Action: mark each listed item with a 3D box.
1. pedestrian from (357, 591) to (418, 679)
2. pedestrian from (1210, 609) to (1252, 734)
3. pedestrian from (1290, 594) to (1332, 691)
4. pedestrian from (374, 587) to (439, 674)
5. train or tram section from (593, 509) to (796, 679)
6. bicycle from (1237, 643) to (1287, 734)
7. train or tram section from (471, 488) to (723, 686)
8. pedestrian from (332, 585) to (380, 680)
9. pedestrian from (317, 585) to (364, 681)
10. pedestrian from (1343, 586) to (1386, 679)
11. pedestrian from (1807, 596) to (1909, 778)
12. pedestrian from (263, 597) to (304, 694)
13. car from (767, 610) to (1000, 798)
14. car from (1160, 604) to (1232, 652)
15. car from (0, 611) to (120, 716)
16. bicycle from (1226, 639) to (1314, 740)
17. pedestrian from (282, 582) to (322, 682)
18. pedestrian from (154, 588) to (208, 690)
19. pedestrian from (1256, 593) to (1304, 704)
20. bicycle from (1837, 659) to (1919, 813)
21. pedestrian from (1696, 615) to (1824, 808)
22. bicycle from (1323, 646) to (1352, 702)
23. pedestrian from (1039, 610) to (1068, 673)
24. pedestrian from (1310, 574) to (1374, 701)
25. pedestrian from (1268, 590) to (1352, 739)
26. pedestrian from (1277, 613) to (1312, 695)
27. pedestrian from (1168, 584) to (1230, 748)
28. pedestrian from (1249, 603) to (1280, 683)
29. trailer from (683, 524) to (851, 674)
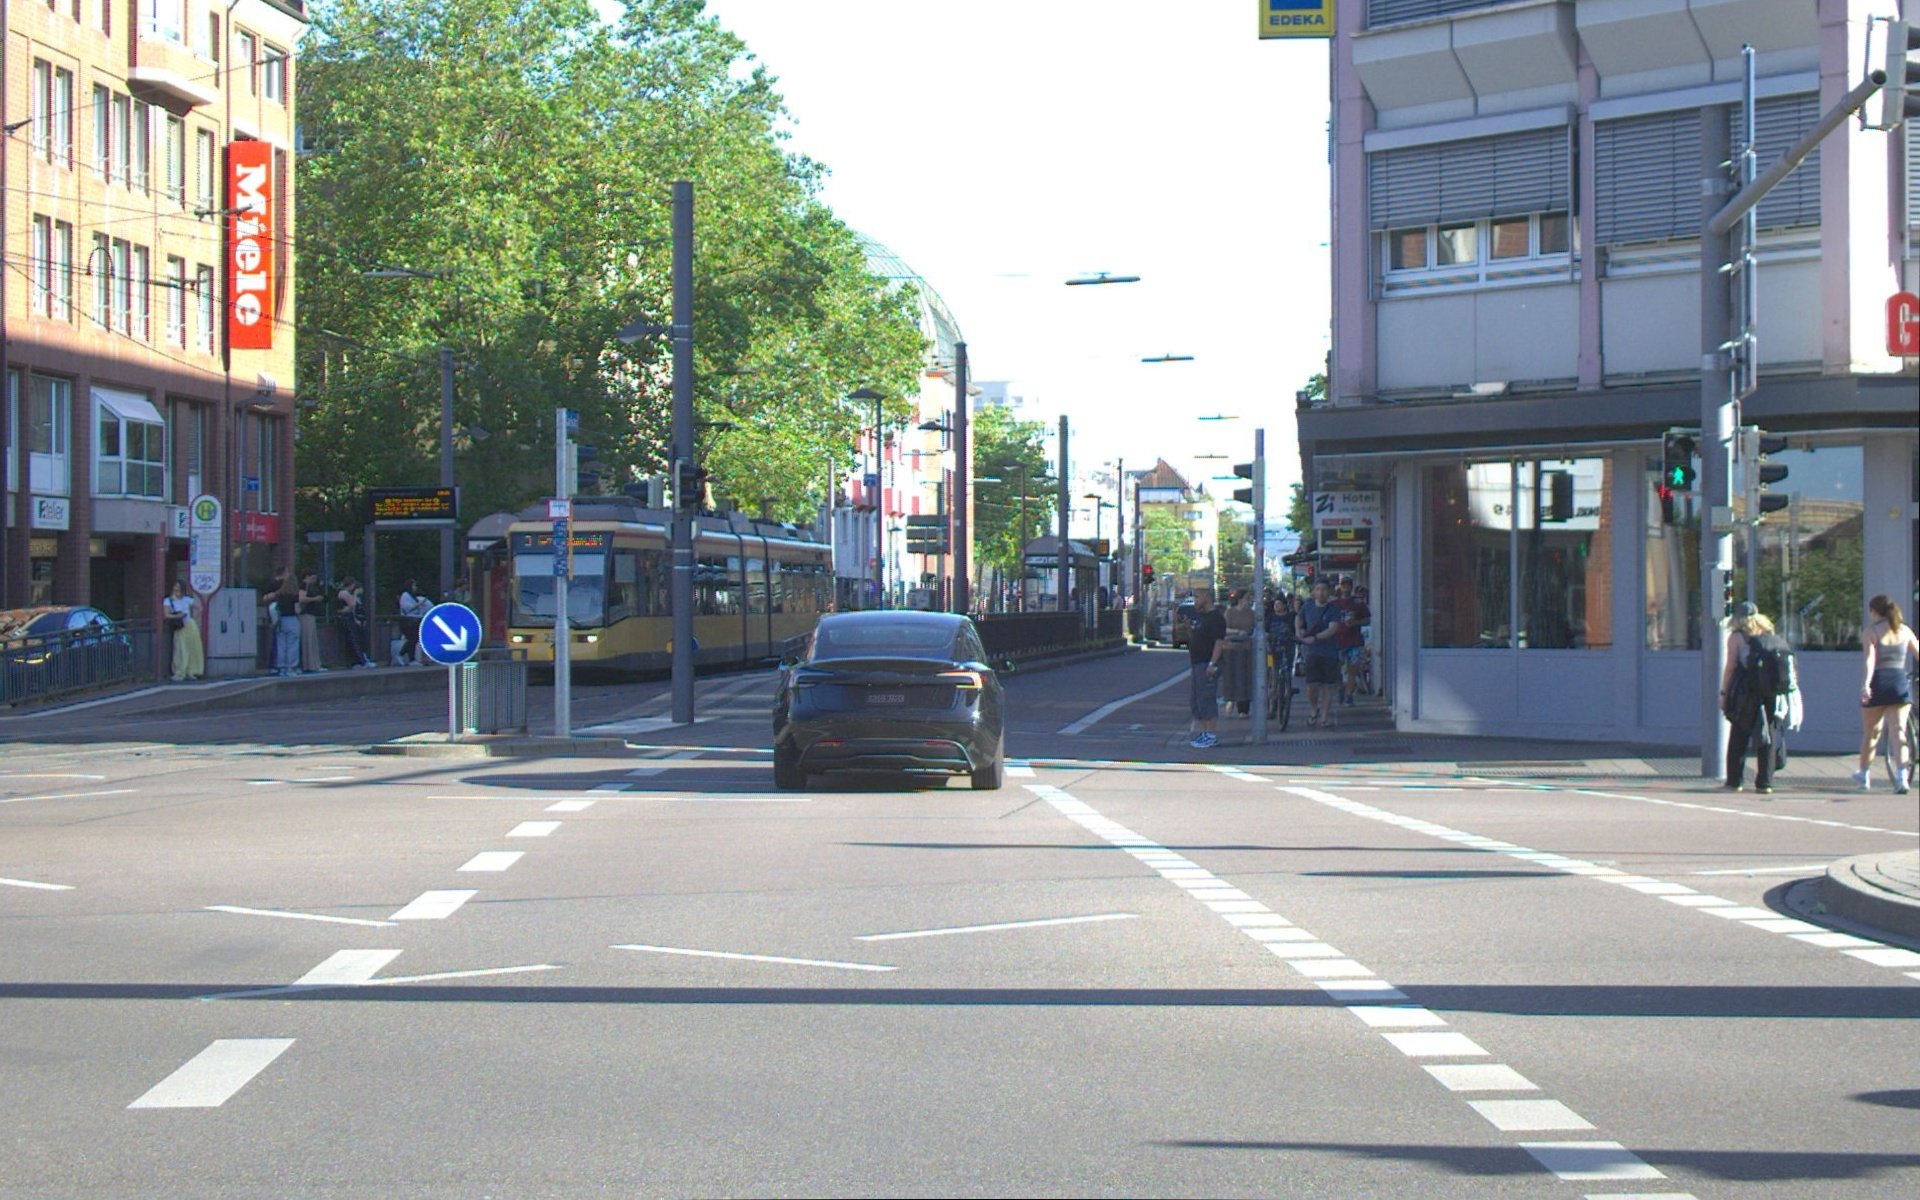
[{"bbox_3d":[-10.621,0.652,63.822,0.999,1.619,0.848,1,-1,-2],"label":"pedestrian"},{"bbox_3d":[3.420,0.893,43.304,0.471,1.557,0.545,1,-1,9],"label":"pedestrian"},{"bbox_3d":[6.114,0.735,59.844,0.697,1.672,0.749,1,-1,7],"label":"pedestrian"},{"bbox_3d":[-10.422,0.578,64.776,1.105,1.619,0.848,1,-1,-2],"label":"pedestrian"},{"bbox_3d":[-5.787,-0.078,76.823,2.714,3.534,10.166,1,-1,6],"label":"train or tram section"},{"bbox_3d":[3.774,1.083,42.871,0.488,1.098,2.124,1,-1,9],"label":"bicycle"},{"bbox_3d":[-6.876,-0.185,66.769,2.730,3.530,10.083,1,-1,6],"label":"train or tram section"},{"bbox_3d":[-10.971,0.596,62.434,0.636,1.715,0.608,0,-1,15],"label":"pedestrian"},{"bbox_3d":[-11.143,0.596,61.830,0.636,1.715,0.585,0,-1,15],"label":"pedestrian"},{"bbox_3d":[7.354,0.593,62.509,0.747,1.672,0.698,1,-1,7],"label":"pedestrian"},{"bbox_3d":[7.770,0.748,29.770,0.525,1.549,0.868,1,-1,-10],"label":"pedestrian"},{"bbox_3d":[-10.771,0.717,54.732,0.583,1.526,0.637,1,-1,-9],"label":"pedestrian"},{"bbox_3d":[-0.590,0.858,28.428,1.790,1.446,3.939,0,-2,0],"label":"car"},{"bbox_3d":[8.414,0.990,122.213,1.738,1.659,3.705,0,-1,17],"label":"car"},{"bbox_3d":[-14.340,0.971,52.534,1.817,1.539,3.791,-1,-1,4],"label":"car"},{"bbox_3d":[3.656,1.051,40.701,0.488,1.157,1.974,1,-1,-11],"label":"bicycle"},{"bbox_3d":[-11.381,0.547,59.464,0.635,1.715,0.585,1,-1,-9],"label":"pedestrian"},{"bbox_3d":[-11.967,0.600,52.834,0.635,1.558,0.585,1,-1,7],"label":"pedestrian"},{"bbox_3d":[4.894,0.736,52.556,0.697,1.672,0.749,1,-1,7],"label":"pedestrian"},{"bbox_3d":[8.212,1.159,29.556,0.543,1.280,1.908,1,-1,-11],"label":"bicycle"},{"bbox_3d":[6.713,0.926,28.875,0.779,1.571,0.868,1,1,-6],"label":"pedestrian"},{"bbox_3d":[5.888,1.151,53.557,0.414,0.854,1.237,1,-1,8],"label":"bicycle"},{"bbox_3d":[2.650,1.161,97.016,0.757,1.764,0.699,1,-1,5],"label":"pedestrian"},{"bbox_3d":[5.118,0.501,46.107,0.686,1.683,0.671,1,-1,-8],"label":"pedestrian"},{"bbox_3d":[4.177,0.763,40.971,0.915,1.749,0.839,0,-1,11],"label":"pedestrian"},{"bbox_3d":[6.823,1.099,70.095,0.697,1.672,0.749,1,-1,7],"label":"pedestrian"},{"bbox_3d":[2.622,0.722,37.825,0.626,1.776,0.917,1,-1,2],"label":"pedestrian"},{"bbox_3d":[7.254,1.024,81.943,0.697,1.890,0.749,1,-1,7],"label":"pedestrian"},{"bbox_3d":[-4.750,0.020,86.532,2.714,3.534,9.356,1,-1,6],"label":"trailer"}]
